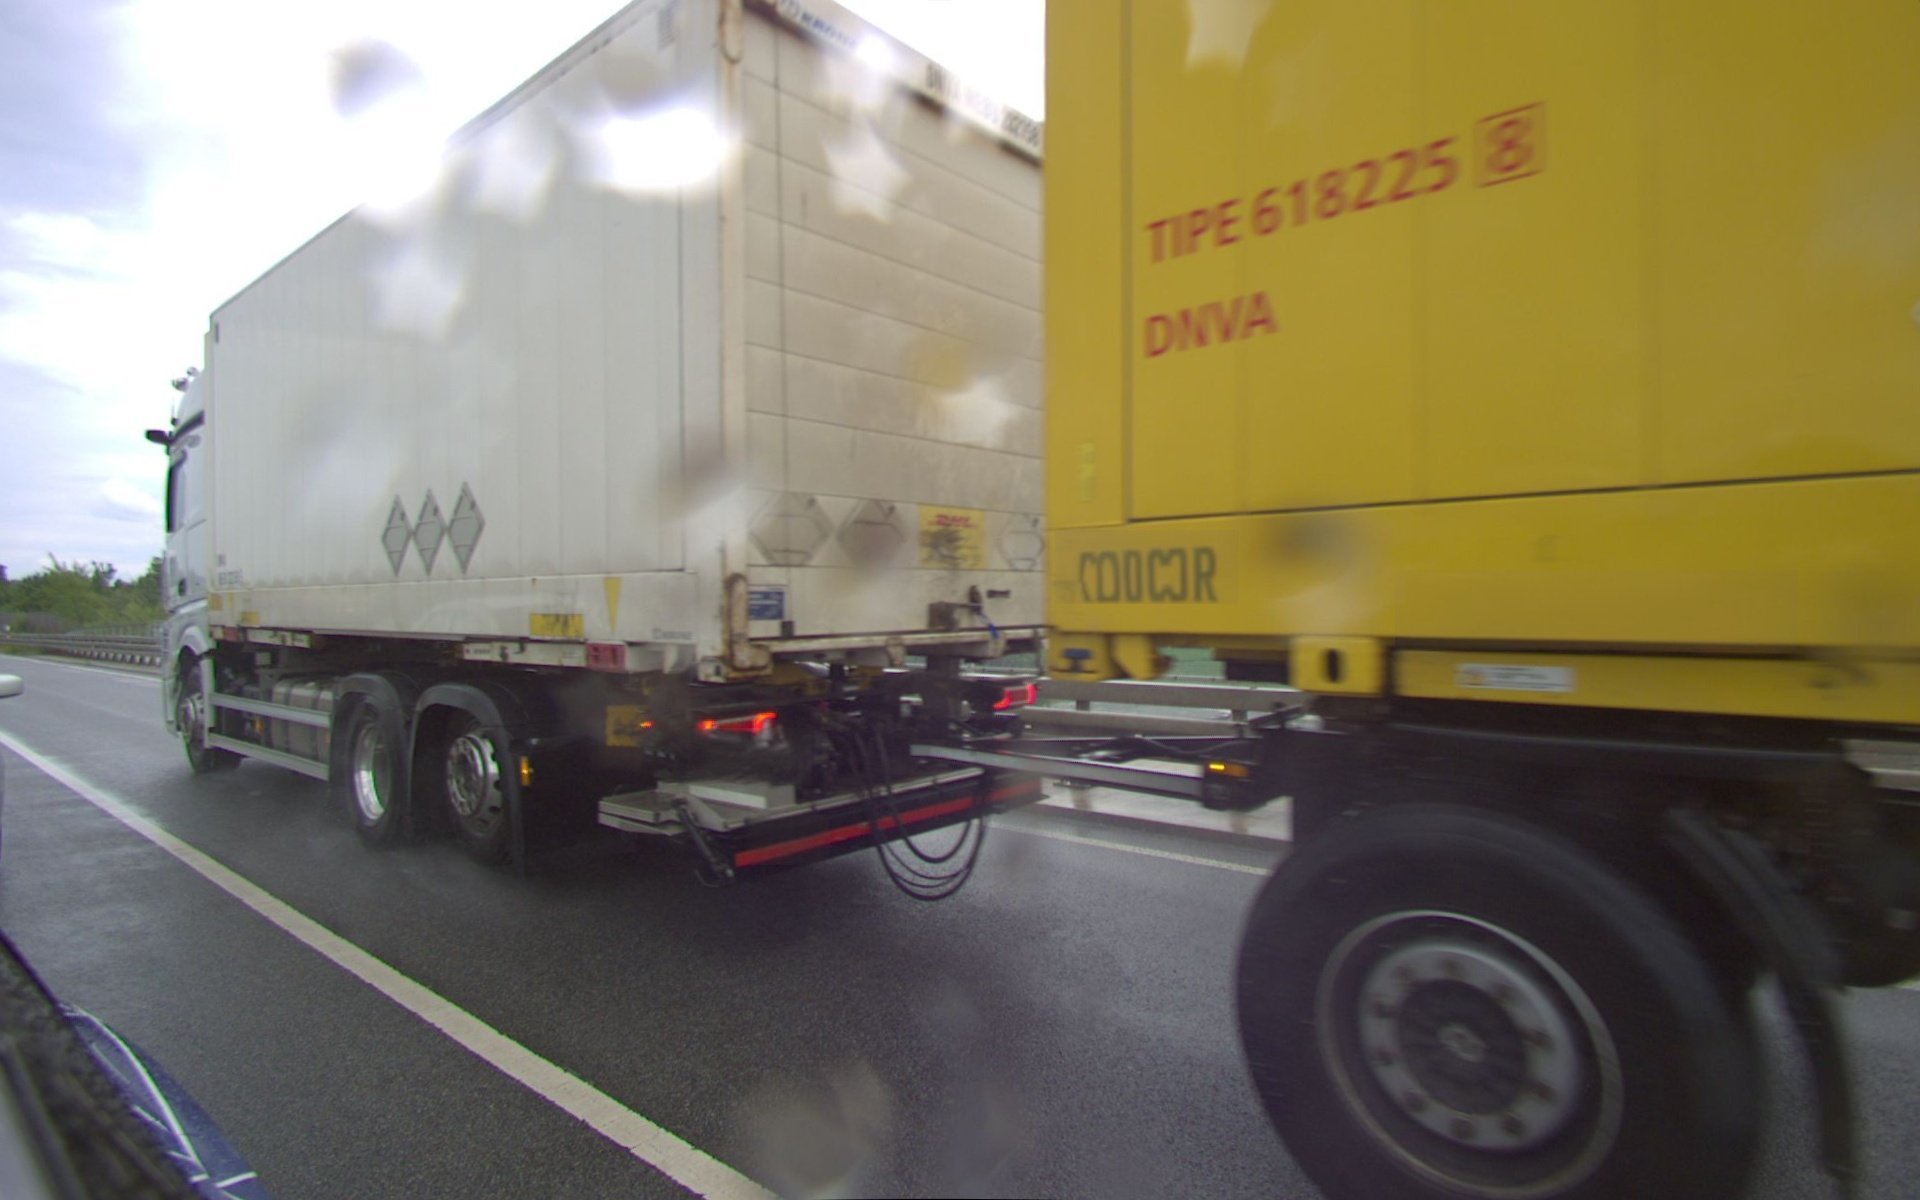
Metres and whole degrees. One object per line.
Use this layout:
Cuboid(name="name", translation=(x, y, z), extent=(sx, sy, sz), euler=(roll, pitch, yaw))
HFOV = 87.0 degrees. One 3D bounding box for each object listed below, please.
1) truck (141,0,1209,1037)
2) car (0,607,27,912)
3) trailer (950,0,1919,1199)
Cuboid(name="truck", translation=(-3.367, -0.583, 7.553), extent=(10.050, 4.047, 2.654), euler=(-1, -1, 41))
Cuboid(name="car", translation=(-6.761, 0.806, 5.770), extent=(4.127, 1.496, 1.653), euler=(-1, 0, 41))
Cuboid(name="trailer", translation=(4.020, -0.700, 1.027), extent=(8.481, 4.106, 2.654), euler=(-1, -1, 41))
